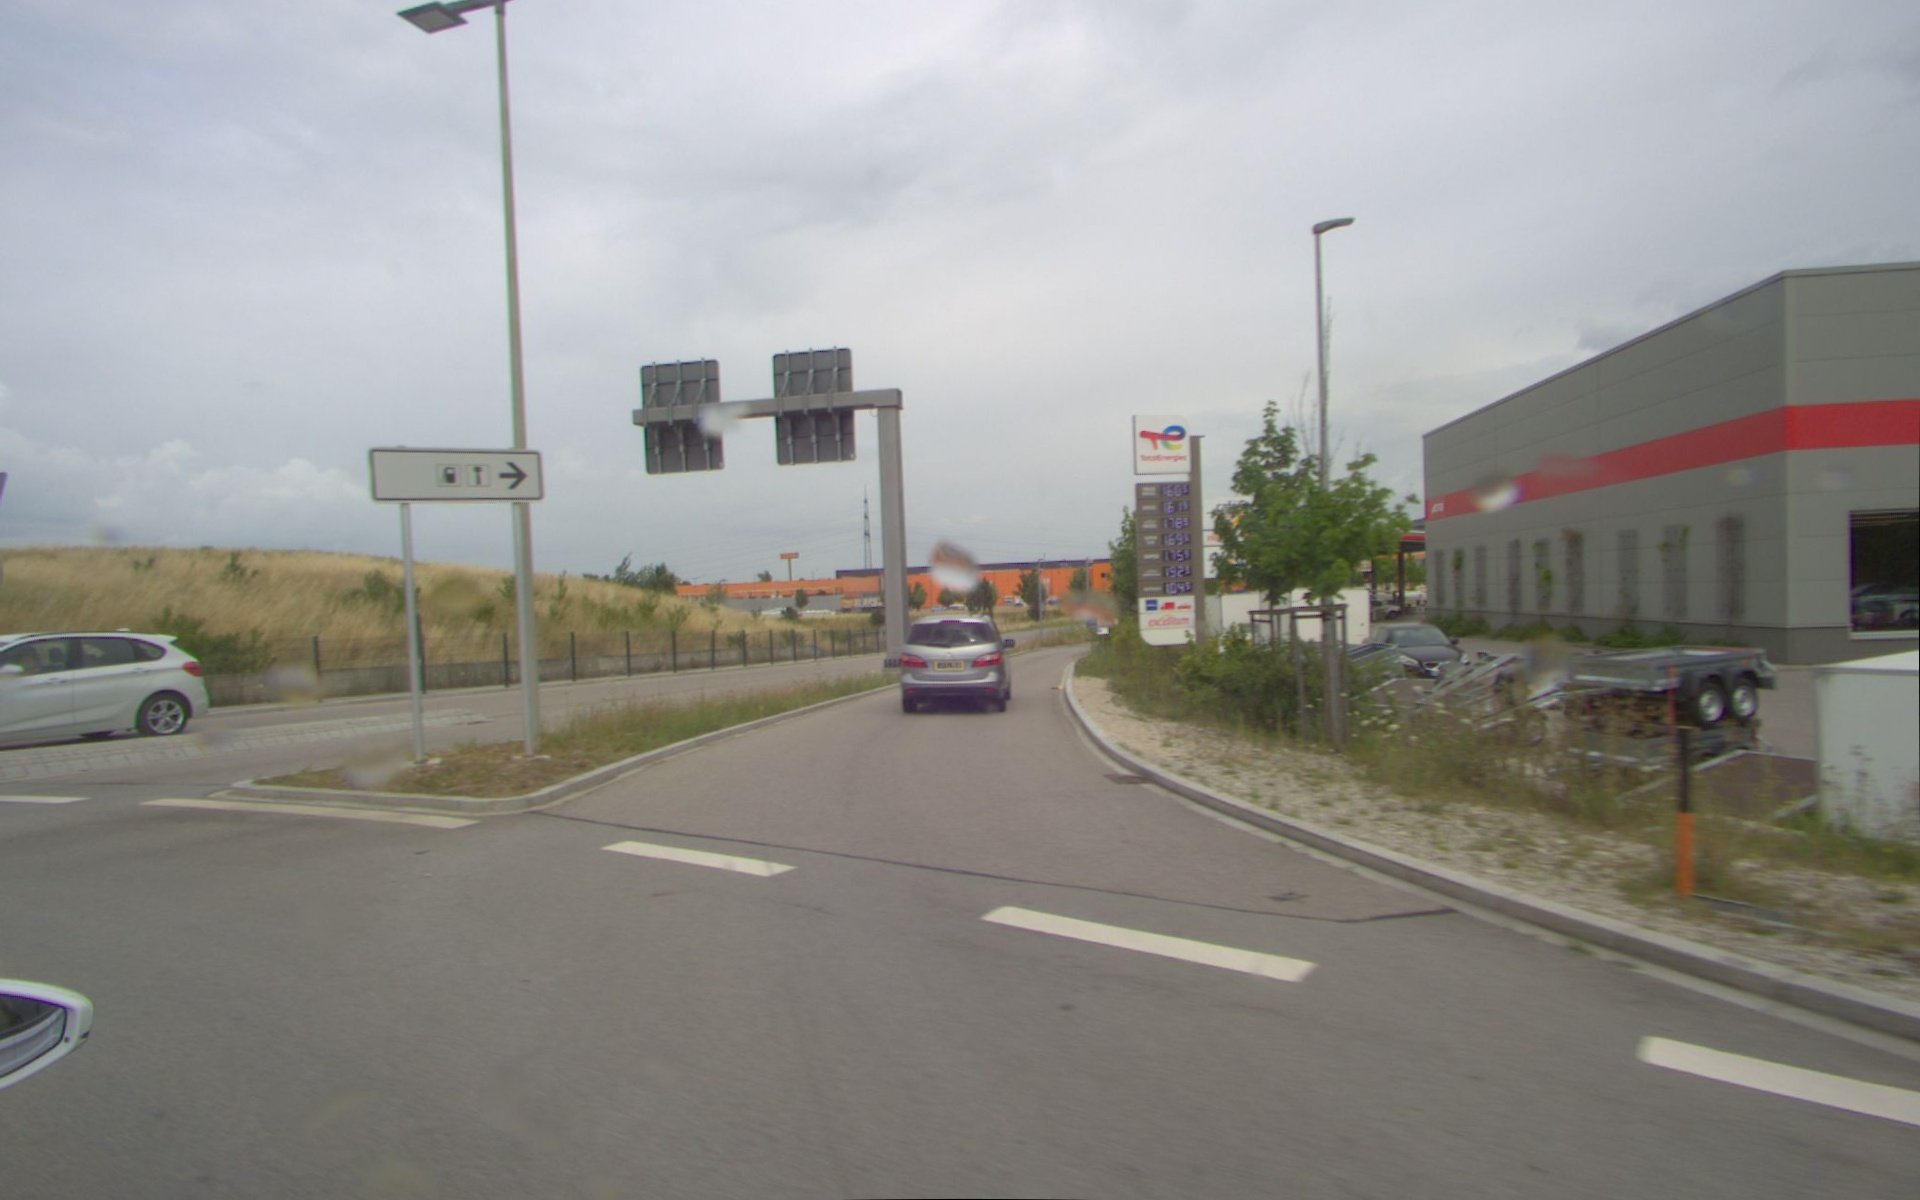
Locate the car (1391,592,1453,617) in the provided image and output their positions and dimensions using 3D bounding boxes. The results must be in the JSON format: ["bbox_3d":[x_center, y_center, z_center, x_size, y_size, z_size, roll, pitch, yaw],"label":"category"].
[{"bbox_3d":[33.831,0.354,73.379,3.764,1.817,1.717,0,-1,4],"label":"car"}]

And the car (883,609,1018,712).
[{"bbox_3d":[-0.045,1.028,17.609,1.880,1.594,4.001,-1,-2,6],"label":"car"}]

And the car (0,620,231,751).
[{"bbox_3d":[-12.761,1.118,13.571,1.754,1.650,4.417,-1,-1,21],"label":"car"}]

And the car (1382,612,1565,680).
[{"bbox_3d":[13.098,1.204,25.681,1.897,1.593,3.707,0,-3,-42],"label":"car"}]

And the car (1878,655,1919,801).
[{"bbox_3d":[12.240,1.533,9.995,1.927,1.698,4.834,-1,0,4],"label":"car"}]
